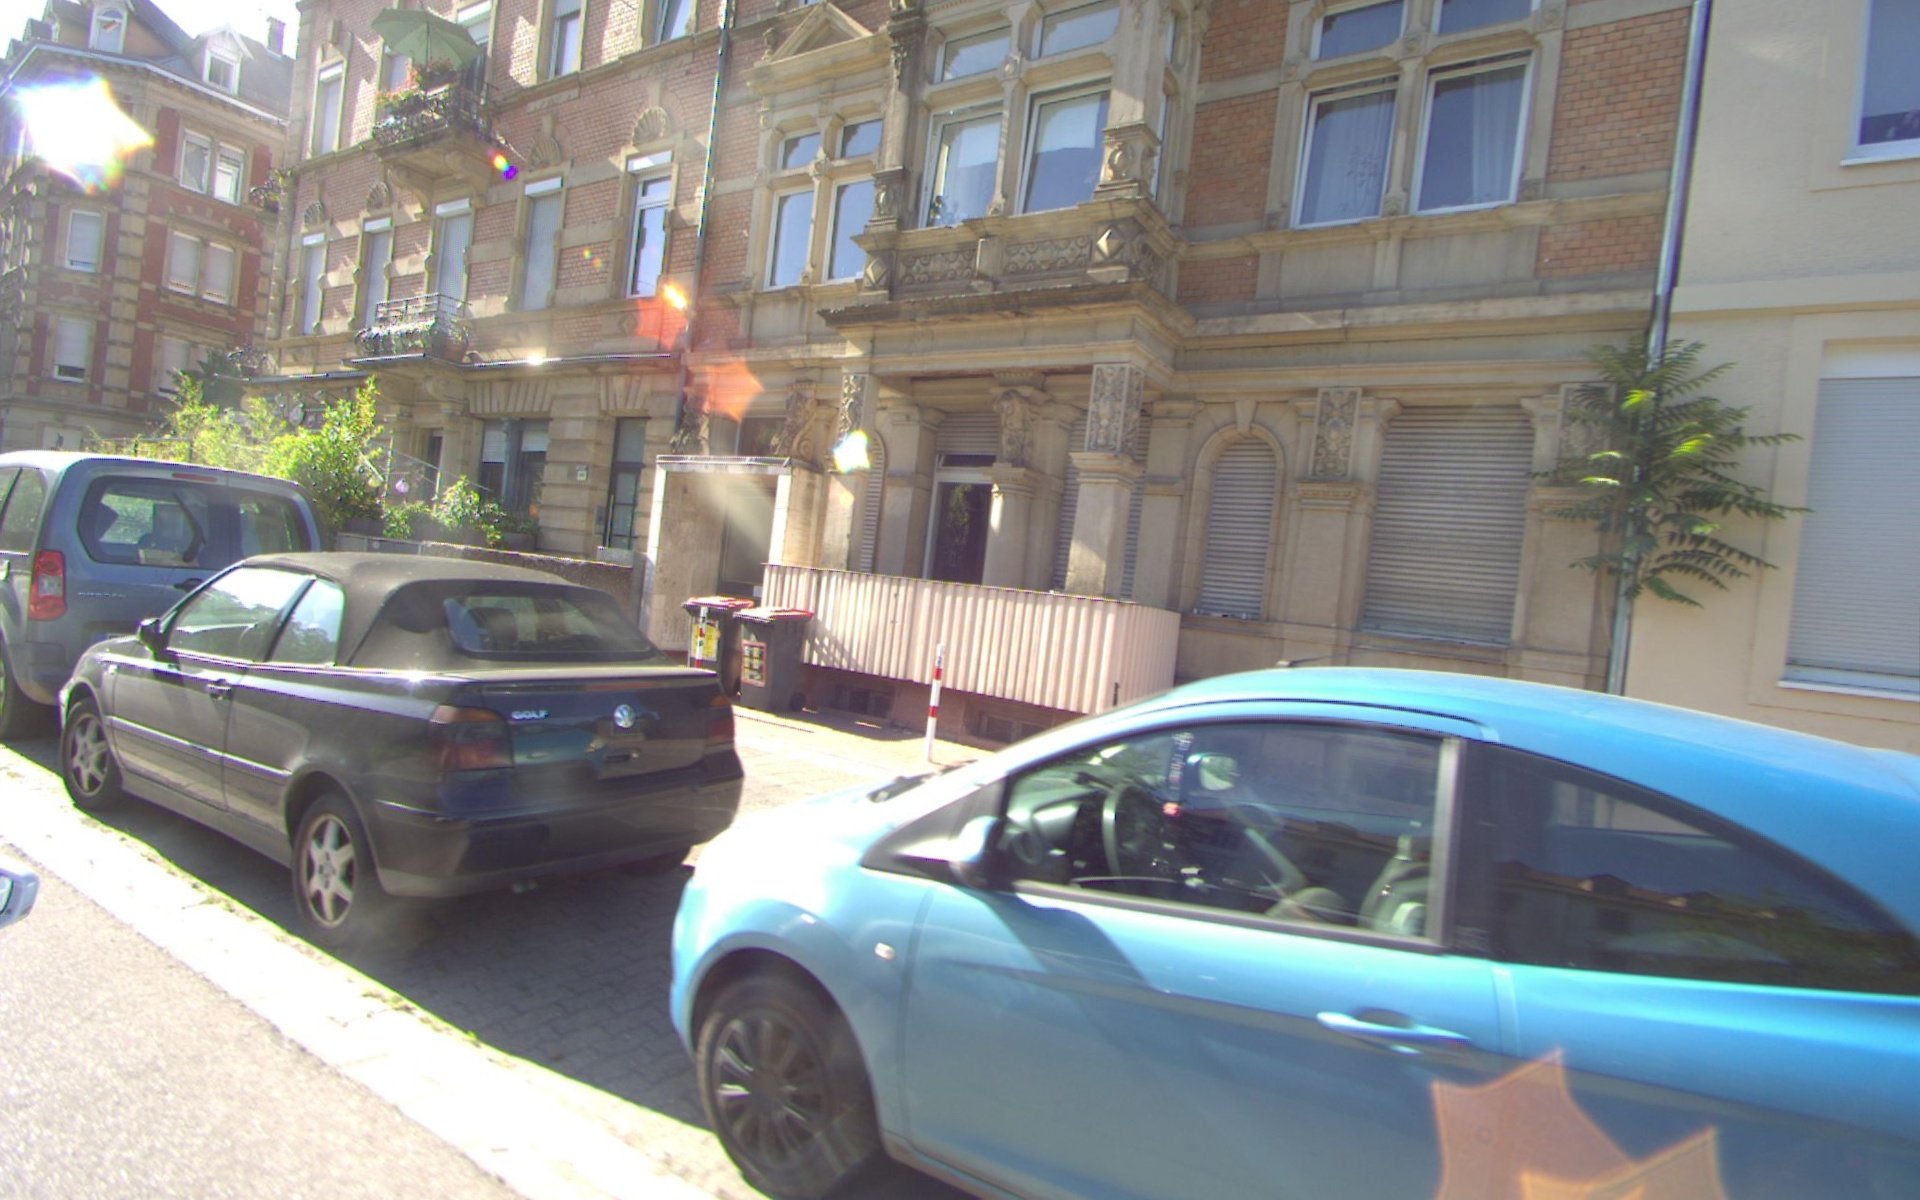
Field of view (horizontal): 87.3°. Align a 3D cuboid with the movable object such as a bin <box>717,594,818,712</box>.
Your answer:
[{"bbox_3d":[-2.020,0.566,10.608,0.599,1.170,0.759,3,-3,34],"label":"movable object such as a bin"}]

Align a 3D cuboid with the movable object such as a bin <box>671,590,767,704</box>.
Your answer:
[{"bbox_3d":[-2.647,0.522,11.060,0.599,1.170,0.723,3,-3,34],"label":"movable object such as a bin"}]

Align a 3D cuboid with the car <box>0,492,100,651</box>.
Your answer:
[{"bbox_3d":[-10.669,-0.463,10.259,4.137,1.444,1.710,7,1,33],"label":"car"}]

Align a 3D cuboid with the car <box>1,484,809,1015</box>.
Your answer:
[{"bbox_3d":[-2.928,0.386,4.936,4.206,1.486,1.669,7,0,35],"label":"car"}]

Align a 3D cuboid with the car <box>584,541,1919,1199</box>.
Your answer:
[{"bbox_3d":[0.815,0.802,2.648,3.244,1.489,1.623,7,1,31],"label":"car"}]

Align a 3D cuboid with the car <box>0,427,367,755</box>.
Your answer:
[{"bbox_3d":[-6.588,-0.190,7.647,4.294,1.867,1.820,7,0,35],"label":"car"}]
